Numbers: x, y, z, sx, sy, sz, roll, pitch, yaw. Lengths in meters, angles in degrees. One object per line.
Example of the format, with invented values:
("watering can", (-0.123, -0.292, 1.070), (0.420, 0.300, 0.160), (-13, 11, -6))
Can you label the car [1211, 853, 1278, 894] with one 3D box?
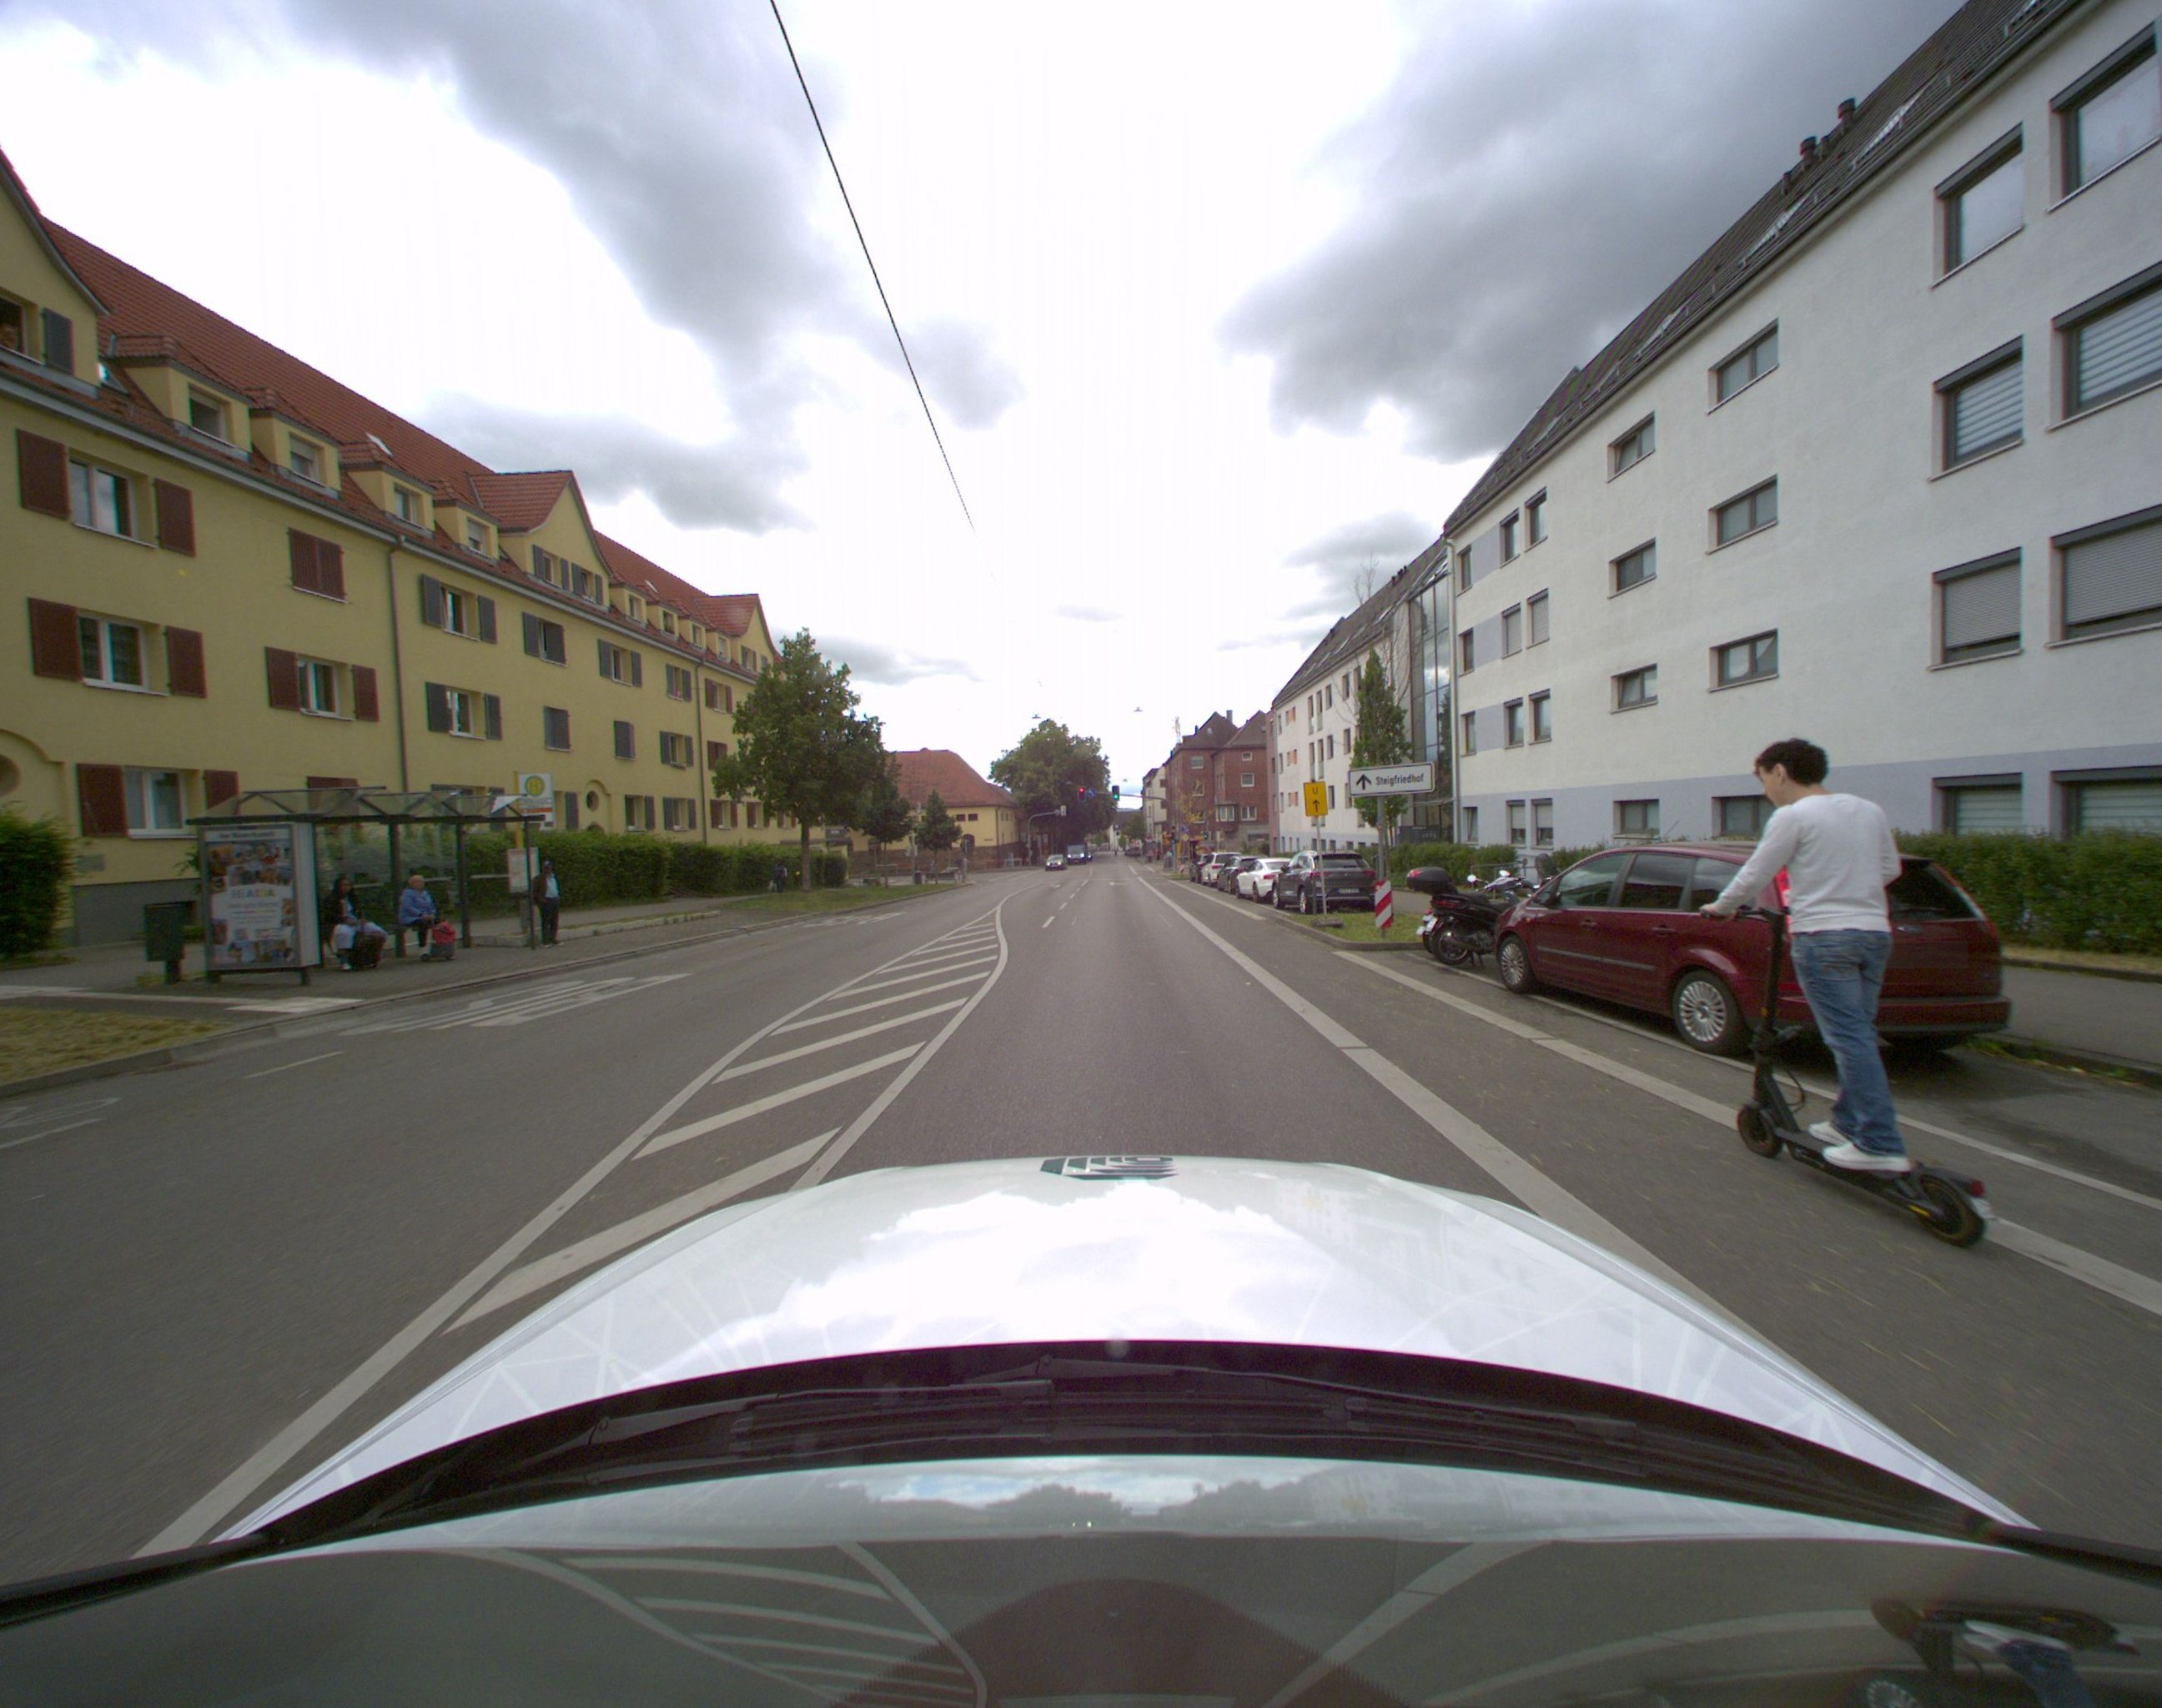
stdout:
("car", (6.381, 0.712, 32.271), (1.739, 1.467, 4.949), (0, 0, 1))

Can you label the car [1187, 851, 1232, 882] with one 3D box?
("car", (6.856, 0.634, 43.919), (1.728, 1.588, 4.573), (0, 0, 1))

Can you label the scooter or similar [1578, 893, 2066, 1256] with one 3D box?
("scooter or similar", (3.275, 0.837, 3.941), (0.489, 1.163, 2.075), (-2, 0, 1))

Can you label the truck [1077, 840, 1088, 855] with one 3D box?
("truck", (0.402, -1.461, 189.040), (2.223, 3.346, 7.451), (-2, 0, 1))

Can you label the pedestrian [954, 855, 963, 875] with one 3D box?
("pedestrian", (-11.433, 1.016, 76.037), (0.562, 1.777, 0.842), (-2, 0, 1))

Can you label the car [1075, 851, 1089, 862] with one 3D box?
("car", (0.173, 0.378, 112.772), (1.695, 1.414, 4.196), (-3, 0, 4))

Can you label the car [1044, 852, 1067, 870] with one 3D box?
("car", (-2.370, 0.645, 76.587), (1.749, 1.472, 4.310), (-3, 0, 3))

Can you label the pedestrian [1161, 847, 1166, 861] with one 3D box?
("pedestrian", (10.532, -0.011, 104.081), (0.477, 1.765, 0.458), (-2, 0, 1))

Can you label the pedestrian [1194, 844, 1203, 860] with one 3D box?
("pedestrian", (12.507, -0.205, 86.870), (0.785, 1.656, 0.773), (-4, 0, 2))

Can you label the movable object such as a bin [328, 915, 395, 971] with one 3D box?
("movable object such as a bin", (-11.511, 1.412, 13.043), (0.462, 0.826, 0.665), (0, 0, 3))

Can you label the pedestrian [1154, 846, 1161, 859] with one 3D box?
("pedestrian", (9.396, -0.179, 100.064), (0.560, 1.636, 0.684), (-2, 0, 22))

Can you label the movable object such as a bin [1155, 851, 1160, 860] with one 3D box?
("movable object such as a bin", (9.342, 0.170, 99.837), (0.449, 1.056, 0.412), (-2, 0, 22))

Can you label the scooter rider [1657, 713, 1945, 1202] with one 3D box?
("scooter rider", (3.255, 0.427, 3.758), (0.623, 2.013, 0.758), (-2, 0, 1))

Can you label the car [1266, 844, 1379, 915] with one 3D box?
("car", (6.096, 0.592, 21.080), (1.626, 1.650, 4.355), (0, 0, 0))

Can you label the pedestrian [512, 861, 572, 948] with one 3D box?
("pedestrian", (-11.050, 1.017, 16.722), (0.594, 1.726, 0.862), (-1, 0, 4))

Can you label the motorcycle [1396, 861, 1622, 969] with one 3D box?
("motorcycle", (5.599, 0.778, 10.734), (2.591, 1.278, 0.752), (-2, 0, -3))

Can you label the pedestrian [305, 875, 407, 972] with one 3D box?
("pedestrian", (-11.625, 1.093, 13.091), (0.896, 1.474, 0.807), (0, 0, 2))

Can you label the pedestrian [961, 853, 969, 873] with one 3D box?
("pedestrian", (-10.715, 0.823, 75.304), (0.562, 1.777, 0.717), (-2, 0, 1))

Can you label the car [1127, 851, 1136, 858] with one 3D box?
("car", (10.901, 0.130, 176.551), (1.664, 1.547, 3.755), (-2, 0, -1))

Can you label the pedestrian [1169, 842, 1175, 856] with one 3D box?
("pedestrian", (10.897, -0.603, 97.072), (0.644, 1.750, 0.779), (-2, 0, 7))

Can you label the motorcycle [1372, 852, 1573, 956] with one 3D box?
("motorcycle", (5.627, 0.693, 11.782), (2.591, 1.380, 0.692), (-2, 0, -3))

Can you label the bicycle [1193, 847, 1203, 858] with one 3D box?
("bicycle", (12.465, -0.186, 86.513), (0.757, 1.193, 2.393), (-2, 0, 2))

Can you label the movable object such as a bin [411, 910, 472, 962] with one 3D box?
("movable object such as a bin", (-11.337, 1.441, 14.461), (0.534, 0.845, 0.665), (0, 0, 3))

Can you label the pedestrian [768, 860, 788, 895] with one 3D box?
("pedestrian", (-14.280, 1.109, 38.398), (0.638, 1.619, 0.618), (-2, 0, 1))

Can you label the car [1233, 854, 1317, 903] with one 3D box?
("car", (6.175, 0.732, 26.420), (1.724, 1.413, 4.500), (0, 0, 1))

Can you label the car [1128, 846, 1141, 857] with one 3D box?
("car", (10.043, -0.444, 152.412), (1.988, 1.935, 4.917), (-2, 0, -1))

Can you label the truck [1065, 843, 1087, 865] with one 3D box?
("truck", (-0.570, -0.037, 94.891), (2.288, 2.427, 6.409), (-3, 0, -1))

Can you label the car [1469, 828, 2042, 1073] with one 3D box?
("car", (5.400, 0.609, 7.442), (1.675, 1.544, 4.339), (-1, 0, 1))

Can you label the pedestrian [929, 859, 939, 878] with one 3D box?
("pedestrian", (-12.503, 1.206, 69.407), (0.561, 1.566, 0.844), (-2, 0, 7))

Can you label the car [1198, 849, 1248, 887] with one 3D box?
("car", (6.696, 0.612, 38.885), (1.653, 1.716, 4.552), (0, 0, 1))

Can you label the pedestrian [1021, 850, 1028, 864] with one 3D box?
("pedestrian", (-6.779, 0.353, 98.050), (0.671, 1.765, 0.726), (-2, 0, 2))

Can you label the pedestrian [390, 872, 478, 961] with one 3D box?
("pedestrian", (-11.501, 1.090, 14.510), (0.896, 1.509, 0.807), (0, 0, 2))
